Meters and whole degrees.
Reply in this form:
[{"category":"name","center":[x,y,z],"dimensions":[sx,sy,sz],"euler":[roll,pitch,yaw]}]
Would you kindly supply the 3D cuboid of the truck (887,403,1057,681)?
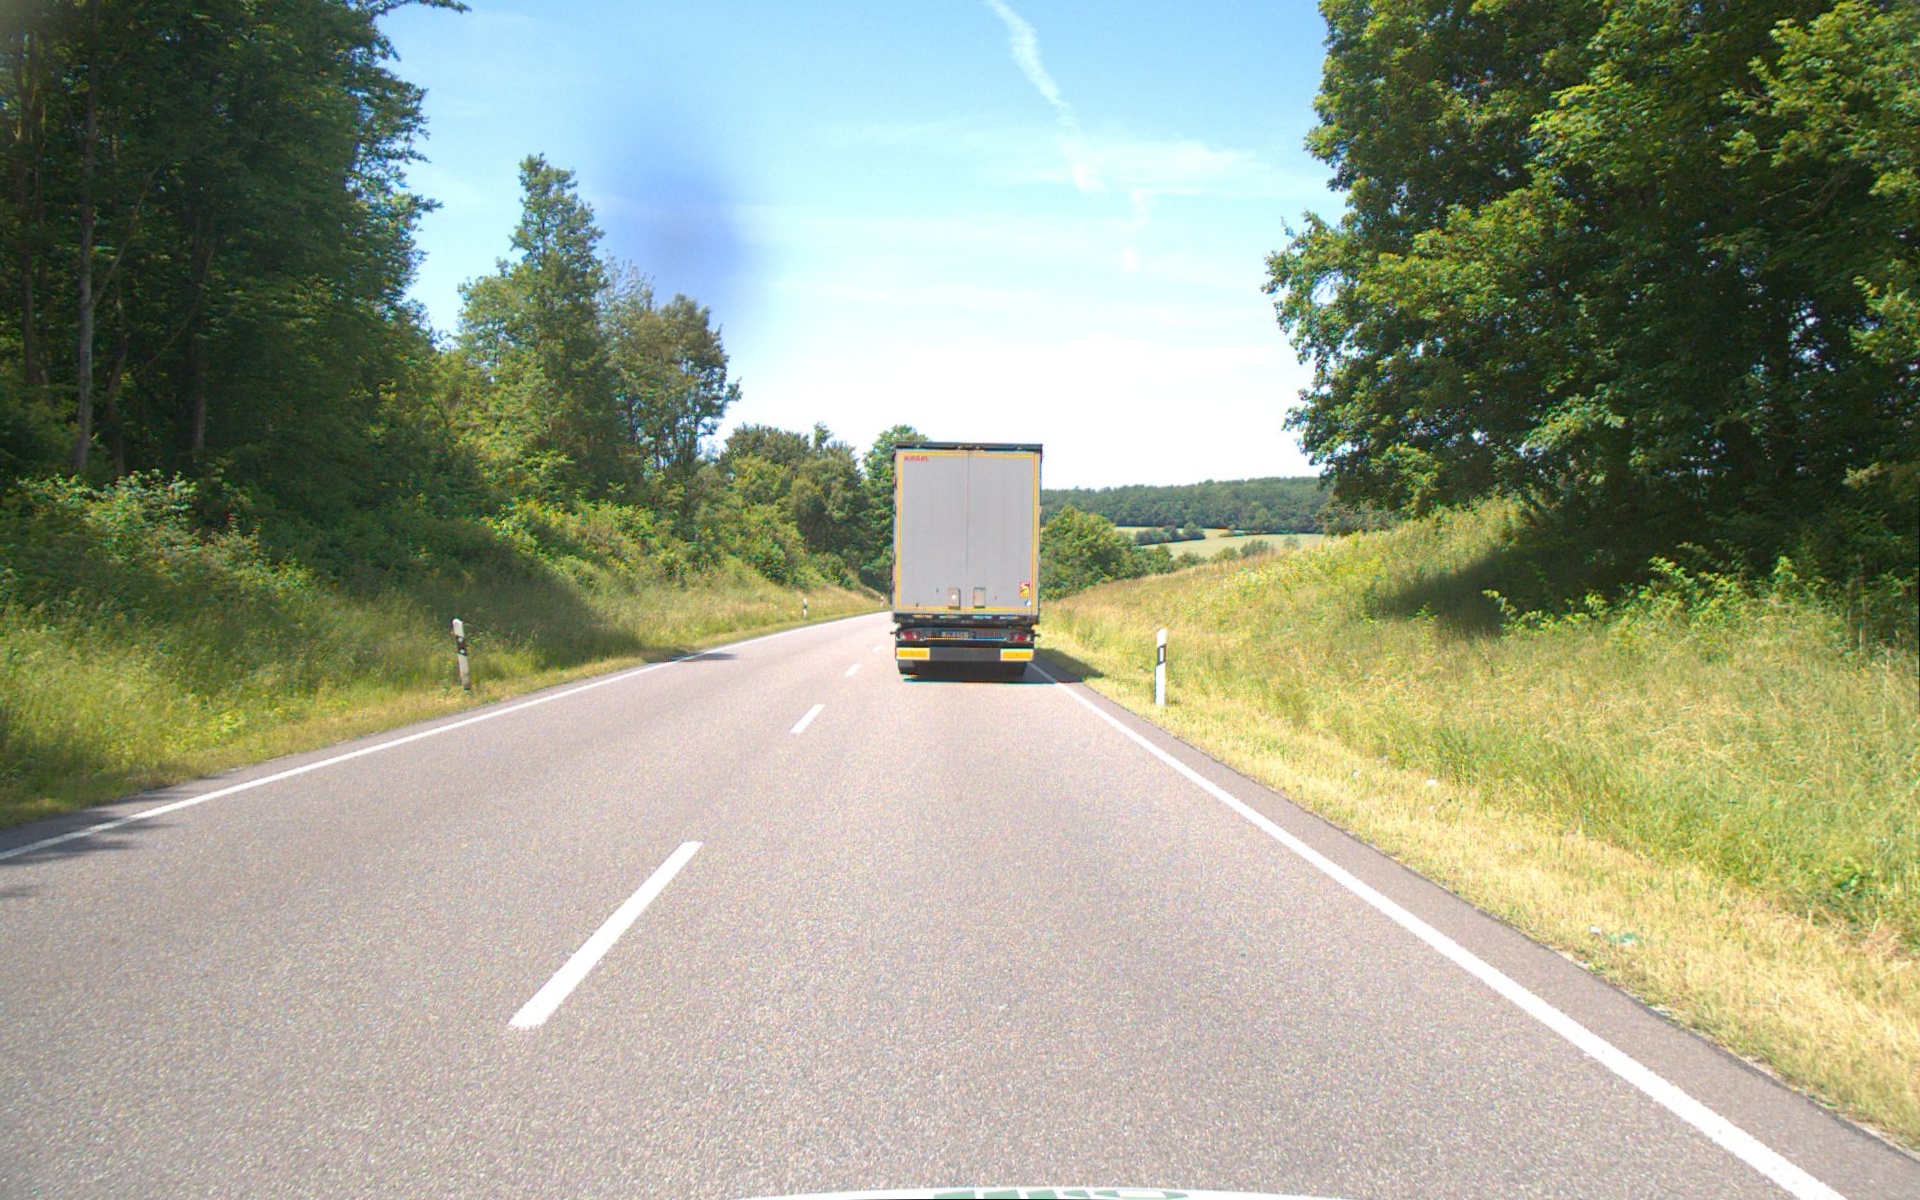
[{"category":"truck","center":[0.115,-1.009,33.621],"dimensions":[2.760,4.611,11.766],"euler":[1,0,-1]}]
